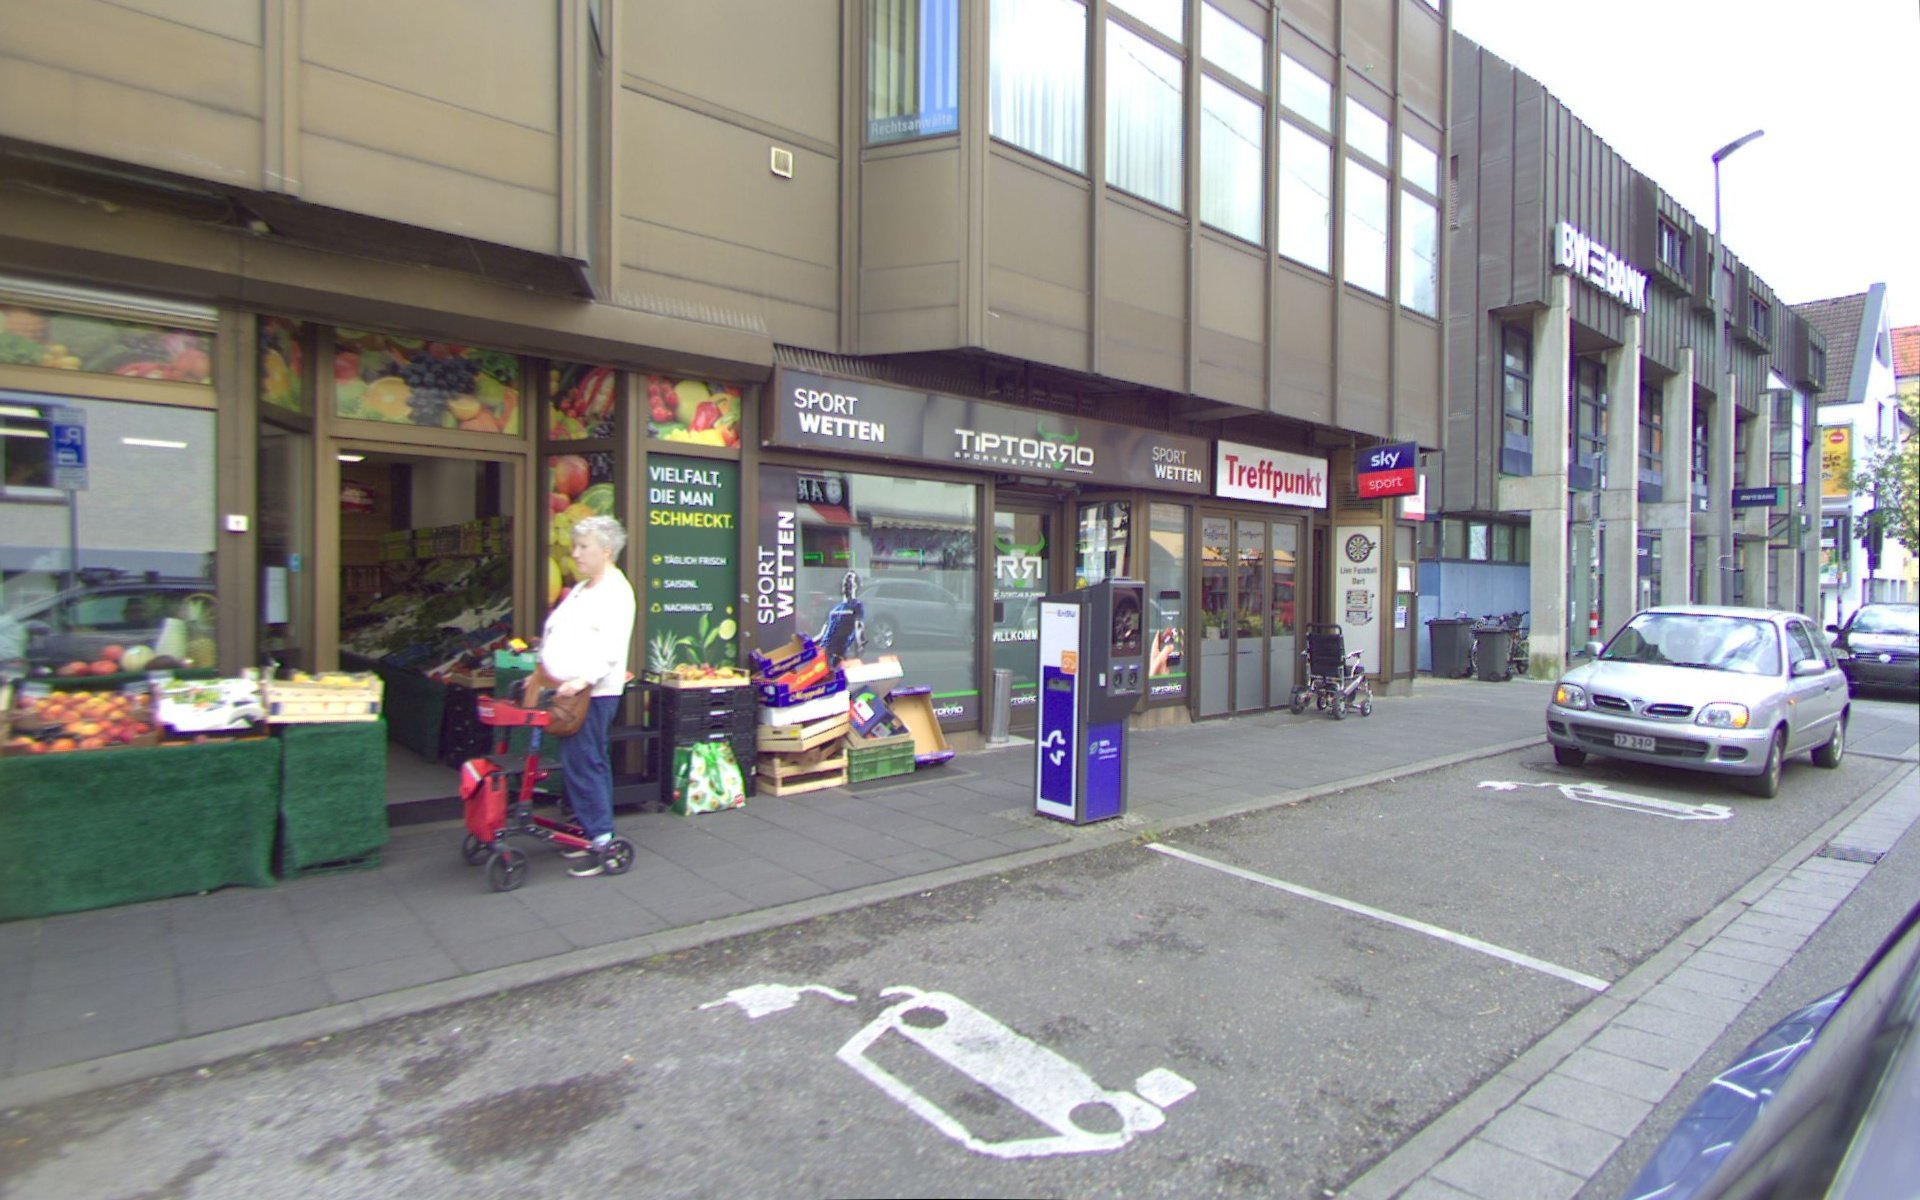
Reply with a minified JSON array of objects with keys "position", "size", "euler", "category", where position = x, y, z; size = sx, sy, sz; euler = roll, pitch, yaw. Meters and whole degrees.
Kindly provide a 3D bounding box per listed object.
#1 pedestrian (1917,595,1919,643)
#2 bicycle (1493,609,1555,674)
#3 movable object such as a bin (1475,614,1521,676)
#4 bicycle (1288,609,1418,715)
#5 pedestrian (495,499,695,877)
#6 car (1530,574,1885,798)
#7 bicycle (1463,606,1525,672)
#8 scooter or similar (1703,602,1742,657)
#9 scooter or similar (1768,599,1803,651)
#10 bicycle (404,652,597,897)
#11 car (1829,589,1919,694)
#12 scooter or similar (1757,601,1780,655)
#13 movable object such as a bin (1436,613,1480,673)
[{"position":[37.883,0.726,39.566],"size":[0.566,1.864,0.589],"euler":[0,-1,-40],"category":"pedestrian"},{"position":[10.044,0.718,18.004],"size":[1.474,1.095,0.426],"euler":[1,1,-39],"category":"bicycle"},{"position":[9.089,0.742,17.094],"size":[0.543,1.012,0.488],"euler":[0,-1,-38],"category":"movable object such as a bin"},{"position":[4.332,0.641,11.114],"size":[1.450,1.061,0.721],"euler":[-1,0,-41],"category":"bicycle"},{"position":[-1.811,0.391,5.061],"size":[0.652,1.728,0.641],"euler":[2,1,27],"category":"pedestrian"},{"position":[6.757,0.607,9.019],"size":[3.726,1.513,1.614],"euler":[0,4,-39],"category":"car"},{"position":[9.686,0.681,18.343],"size":[1.475,1.133,0.426],"euler":[-1,-1,-39],"category":"bicycle"},{"position":[18.216,0.693,24.170],"size":[1.534,1.261,0.422],"euler":[-1,-1,-41],"category":"scooter or similar"},{"position":[20.904,0.627,25.614],"size":[1.534,1.261,0.422],"euler":[-1,-1,-41],"category":"scooter or similar"},{"position":[-2.088,0.751,4.624],"size":[0.597,0.991,0.554],"euler":[-1,-1,26],"category":"bicycle"},{"position":[15.713,0.632,16.564],"size":[3.726,1.551,1.613],"euler":[0,1,-39],"category":"car"},{"position":[19.477,0.656,24.378],"size":[0.404,1.261,1.306],"euler":[-1,-1,39],"category":"scooter or similar"},{"position":[8.660,0.739,17.607],"size":[0.543,1.012,0.488],"euler":[0,-1,-38],"category":"movable object such as a bin"}]
